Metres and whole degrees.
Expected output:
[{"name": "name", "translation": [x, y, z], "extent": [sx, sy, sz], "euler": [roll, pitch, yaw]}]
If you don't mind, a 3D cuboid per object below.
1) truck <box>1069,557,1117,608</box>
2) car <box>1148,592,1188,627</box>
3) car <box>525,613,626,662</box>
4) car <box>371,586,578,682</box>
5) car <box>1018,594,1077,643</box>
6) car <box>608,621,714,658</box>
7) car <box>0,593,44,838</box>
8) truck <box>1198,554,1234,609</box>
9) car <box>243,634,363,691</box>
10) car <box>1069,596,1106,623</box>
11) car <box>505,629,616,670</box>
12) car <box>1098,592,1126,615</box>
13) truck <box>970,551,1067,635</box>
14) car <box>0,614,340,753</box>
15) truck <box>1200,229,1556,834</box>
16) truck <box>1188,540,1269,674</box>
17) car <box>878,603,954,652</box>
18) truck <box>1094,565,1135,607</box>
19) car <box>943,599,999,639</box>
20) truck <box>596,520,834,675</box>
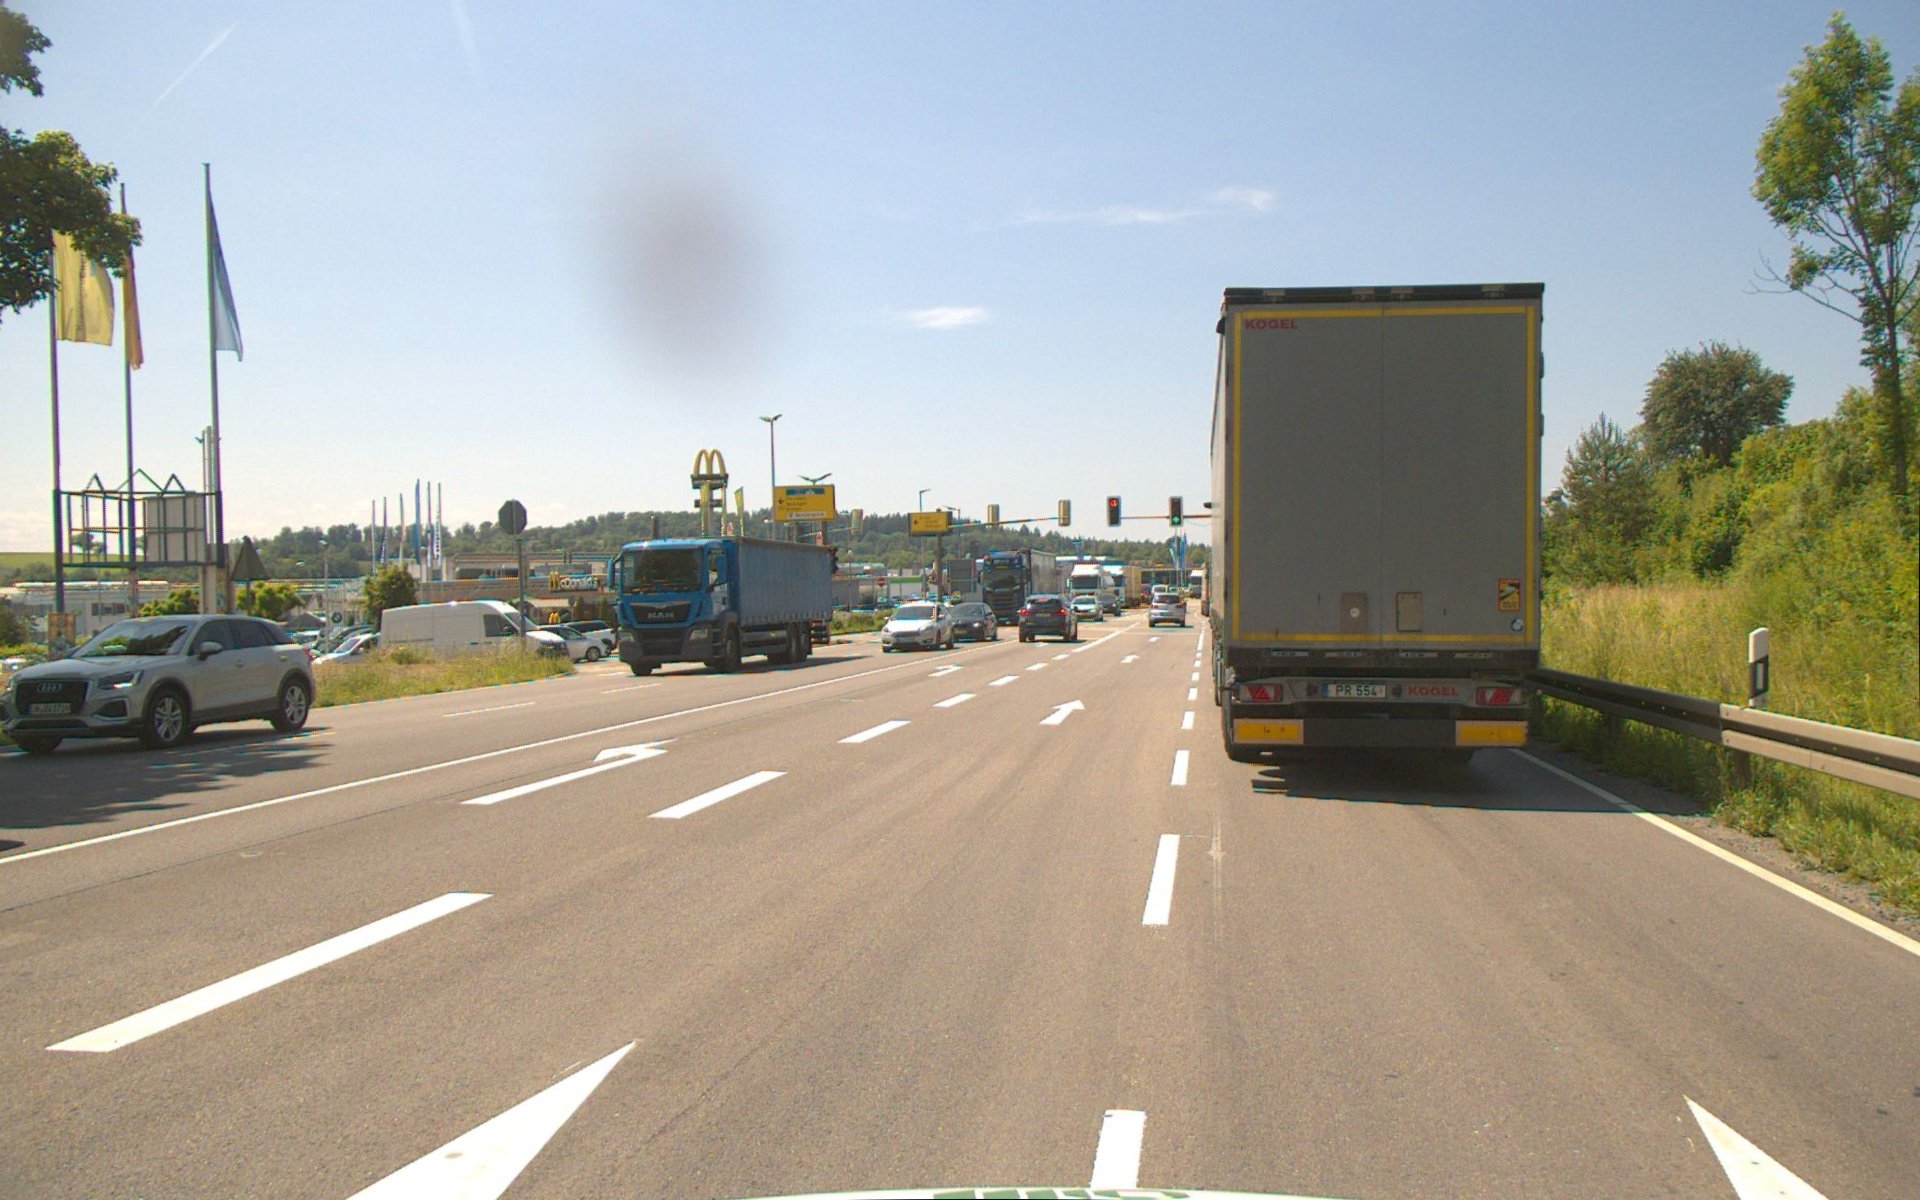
[{"name": "truck", "translation": [11.292, -1.410, 139.697], "extent": [2.872, 4.019, 14.249], "euler": [-1, 0, 9]}, {"name": "car", "translation": [10.563, 0.467, 83.860], "extent": [1.766, 1.699, 4.295], "euler": [0, 0, 10]}, {"name": "car", "translation": [-17.018, 1.643, 73.316], "extent": [1.965, 2.049, 3.975], "euler": [-1, 0, 42]}, {"name": "car", "translation": [-15.731, 1.094, 53.782], "extent": [5.867, 2.530, 2.196], "euler": [-5, 0, 3]}, {"name": "car", "translation": [3.169, 0.640, 58.971], "extent": [1.755, 1.655, 4.373], "euler": [-1, 0, 7]}, {"name": "car", "translation": [-12.330, 1.615, 68.323], "extent": [3.973, 1.506, 1.765], "euler": [1, -1, -38]}, {"name": "car", "translation": [-7.190, 0.781, 8.889], "extent": [1.754, 1.548, 4.190], "euler": [-2, 0, 8]}, {"name": "truck", "translation": [18.766, -1.304, 121.519], "extent": [2.552, 3.782, 9.456], "euler": [0, -1, 8]}, {"name": "car", "translation": [-25.807, 2.452, 64.994], "extent": [3.960, 2.049, 1.972], "euler": [-1, -1, -39]}, {"name": "car", "translation": [7.729, 0.559, 99.814], "extent": [1.771, 1.535, 4.950], "euler": [-1, 0, 9]}, {"name": "car", "translation": [-16.536, 2.028, 68.594], "extent": [4.162, 1.629, 1.723], "euler": [1, -1, -42]}, {"name": "car", "translation": [10.621, 0.233, 115.293], "extent": [1.628, 1.535, 3.908], "euler": [-2, 0, 9]}, {"name": "truck", "translation": [3.706, -0.451, 97.802], "extent": [3.079, 4.425, 17.558], "euler": [-2, 0, 10]}, {"name": "car", "translation": [-9.431, 0.930, 20.042], "extent": [1.724, 1.453, 4.183], "euler": [-1, 0, 9]}, {"name": "truck", "translation": [4.474, -0.401, 21.324], "extent": [2.697, 4.720, 16.667], "euler": [0, -1, 8]}, {"name": "truck", "translation": [10.653, 0.384, 66.713], "extent": [2.814, 4.720, 16.667], "euler": [0, -1, 8]}, {"name": "car", "translation": [-1.323, 0.831, 51.719], "extent": [1.751, 1.451, 4.266], "euler": [0, 0, 7]}, {"name": "truck", "translation": [15.454, -1.324, 164.443], "extent": [2.872, 4.019, 13.877], "euler": [-1, 0, 10]}, {"name": "car", "translation": [0.446, 0.685, 61.299], "extent": [1.627, 1.428, 4.019], "euler": [-1, 0, 6]}, {"name": "truck", "translation": [-5.931, -0.015, 42.711], "extent": [2.786, 3.410, 11.491], "euler": [-1, 0, 9]}]
